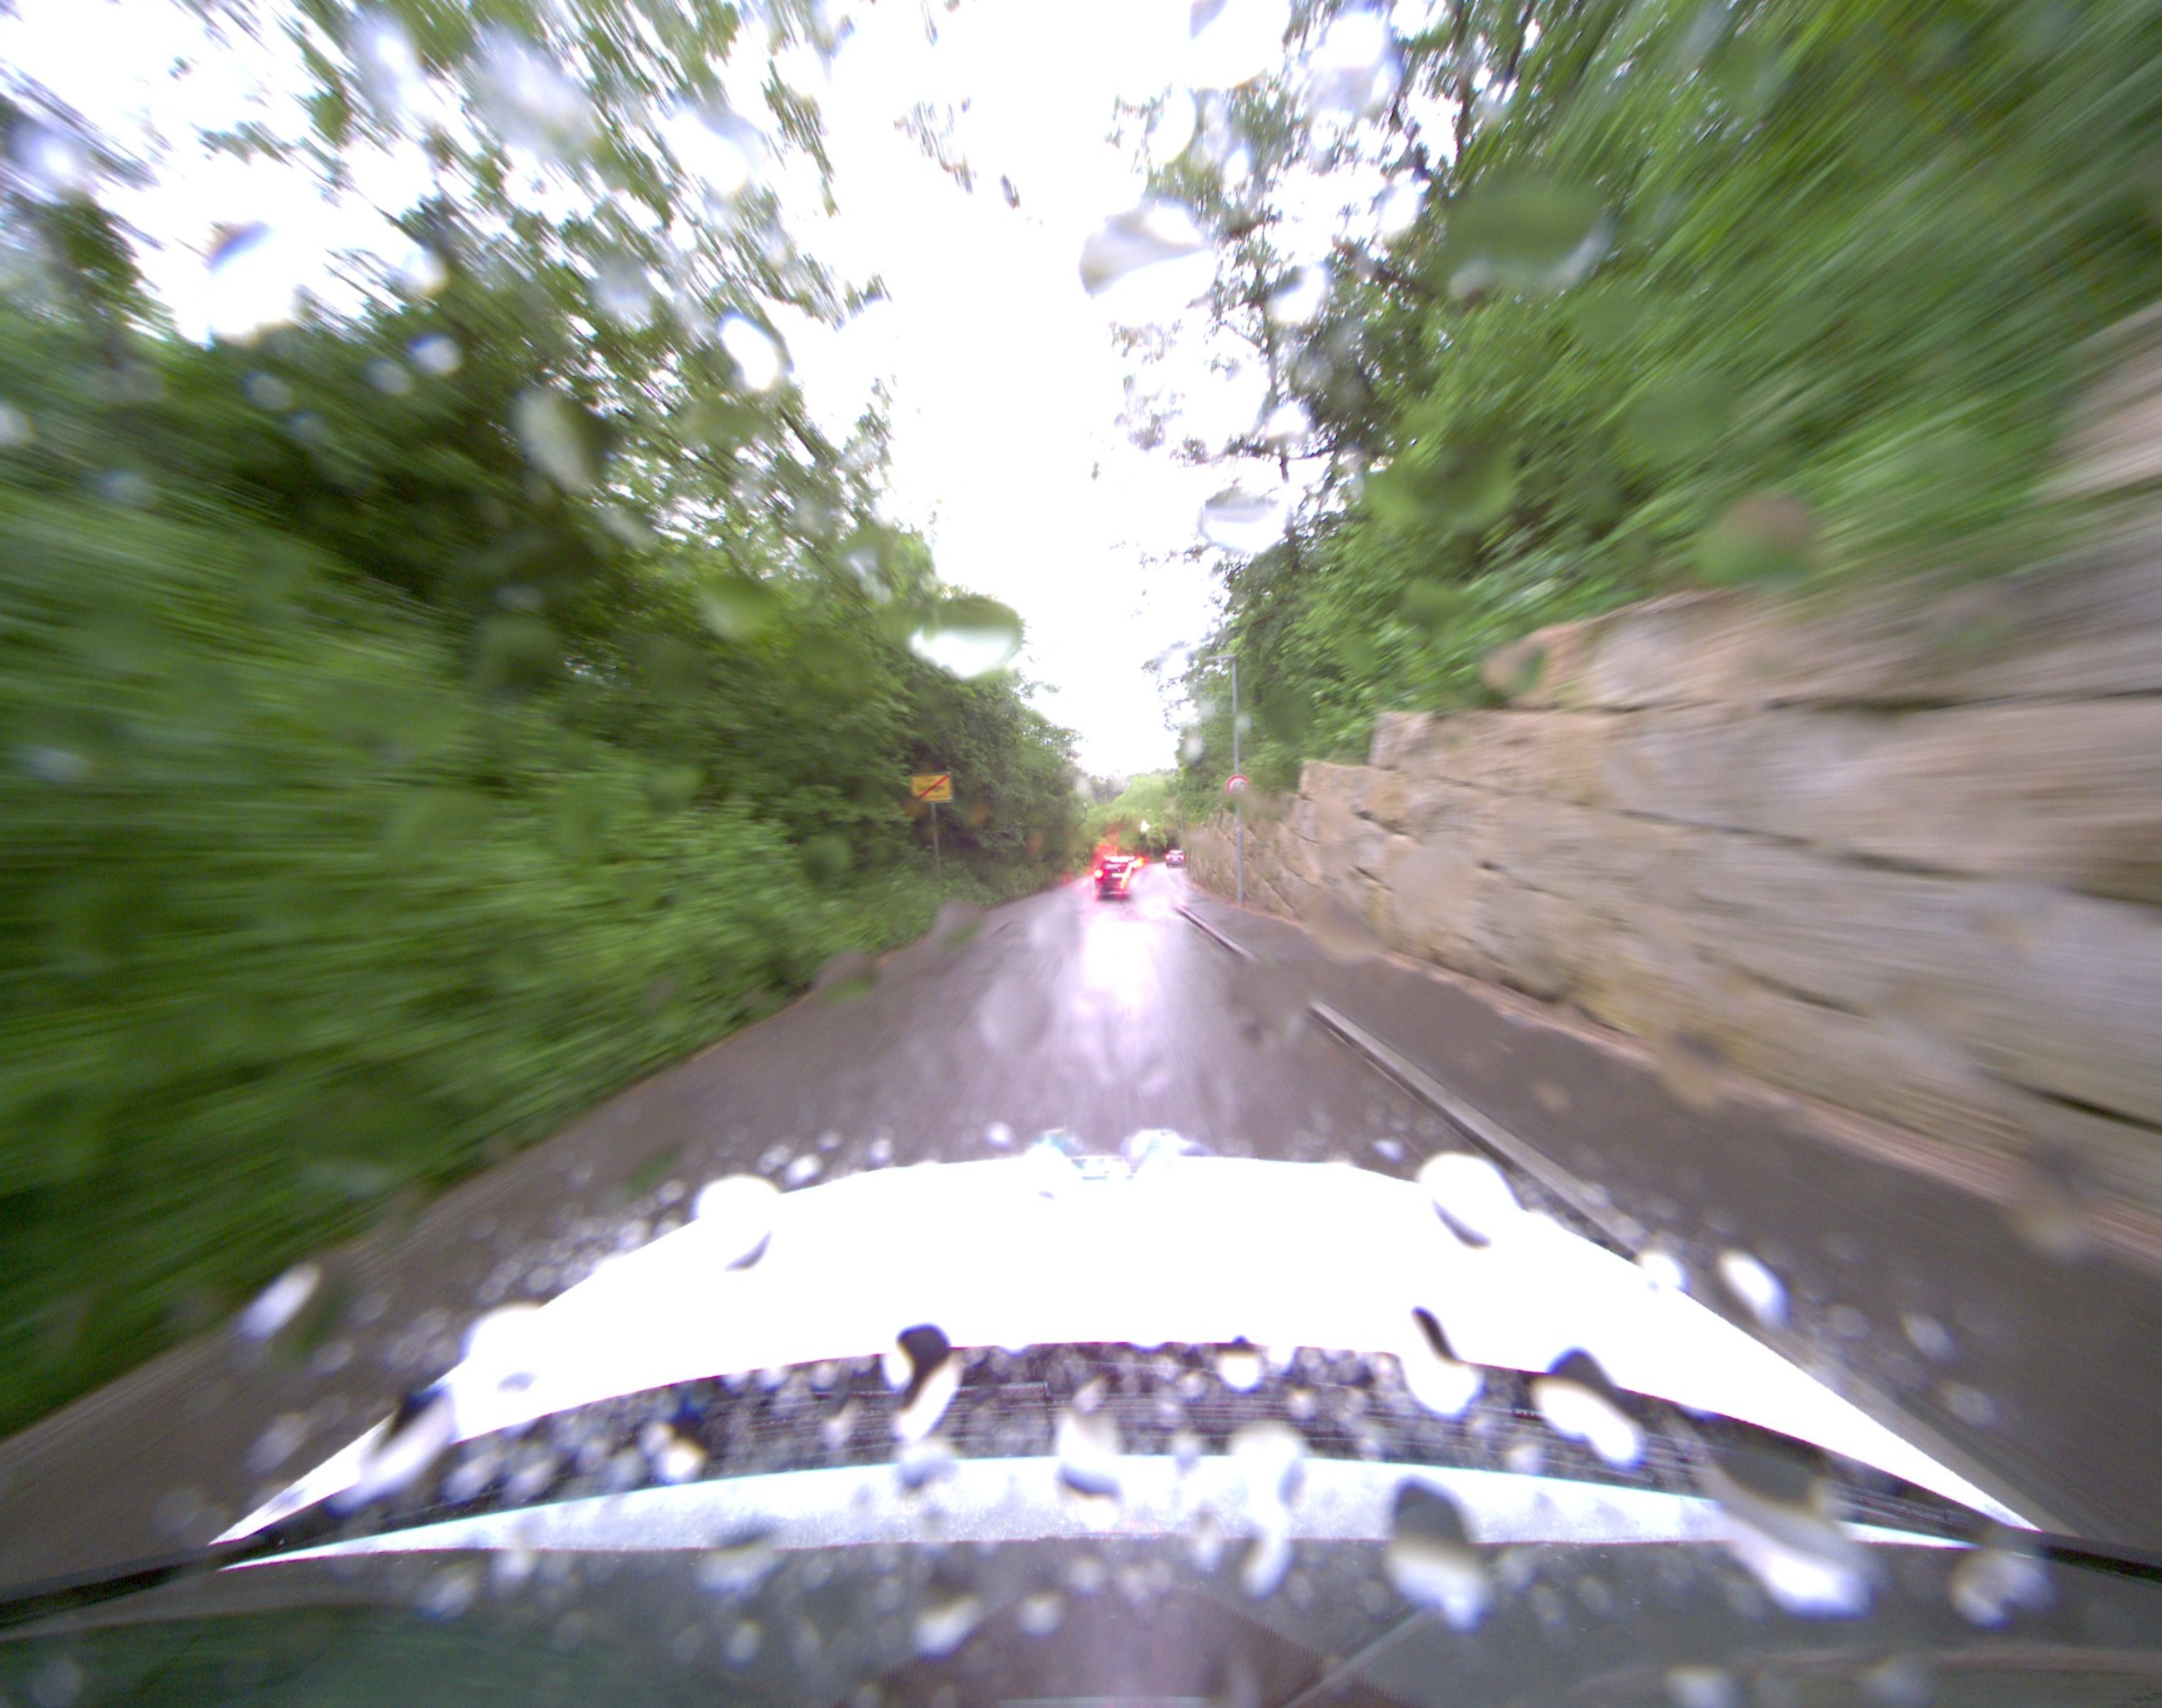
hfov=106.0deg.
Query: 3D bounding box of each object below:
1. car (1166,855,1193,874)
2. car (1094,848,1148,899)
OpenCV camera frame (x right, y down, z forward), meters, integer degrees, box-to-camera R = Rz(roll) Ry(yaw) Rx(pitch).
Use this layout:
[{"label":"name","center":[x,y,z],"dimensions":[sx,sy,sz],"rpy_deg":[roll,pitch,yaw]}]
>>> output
[{"label":"car","center":[9.325,0.962,77.040],"dimensions":[1.848,1.743,4.018],"rpy_deg":[0,0,17]},{"label":"car","center":[1.525,0.643,29.633],"dimensions":[1.691,1.449,4.008],"rpy_deg":[-1,4,6]}]
